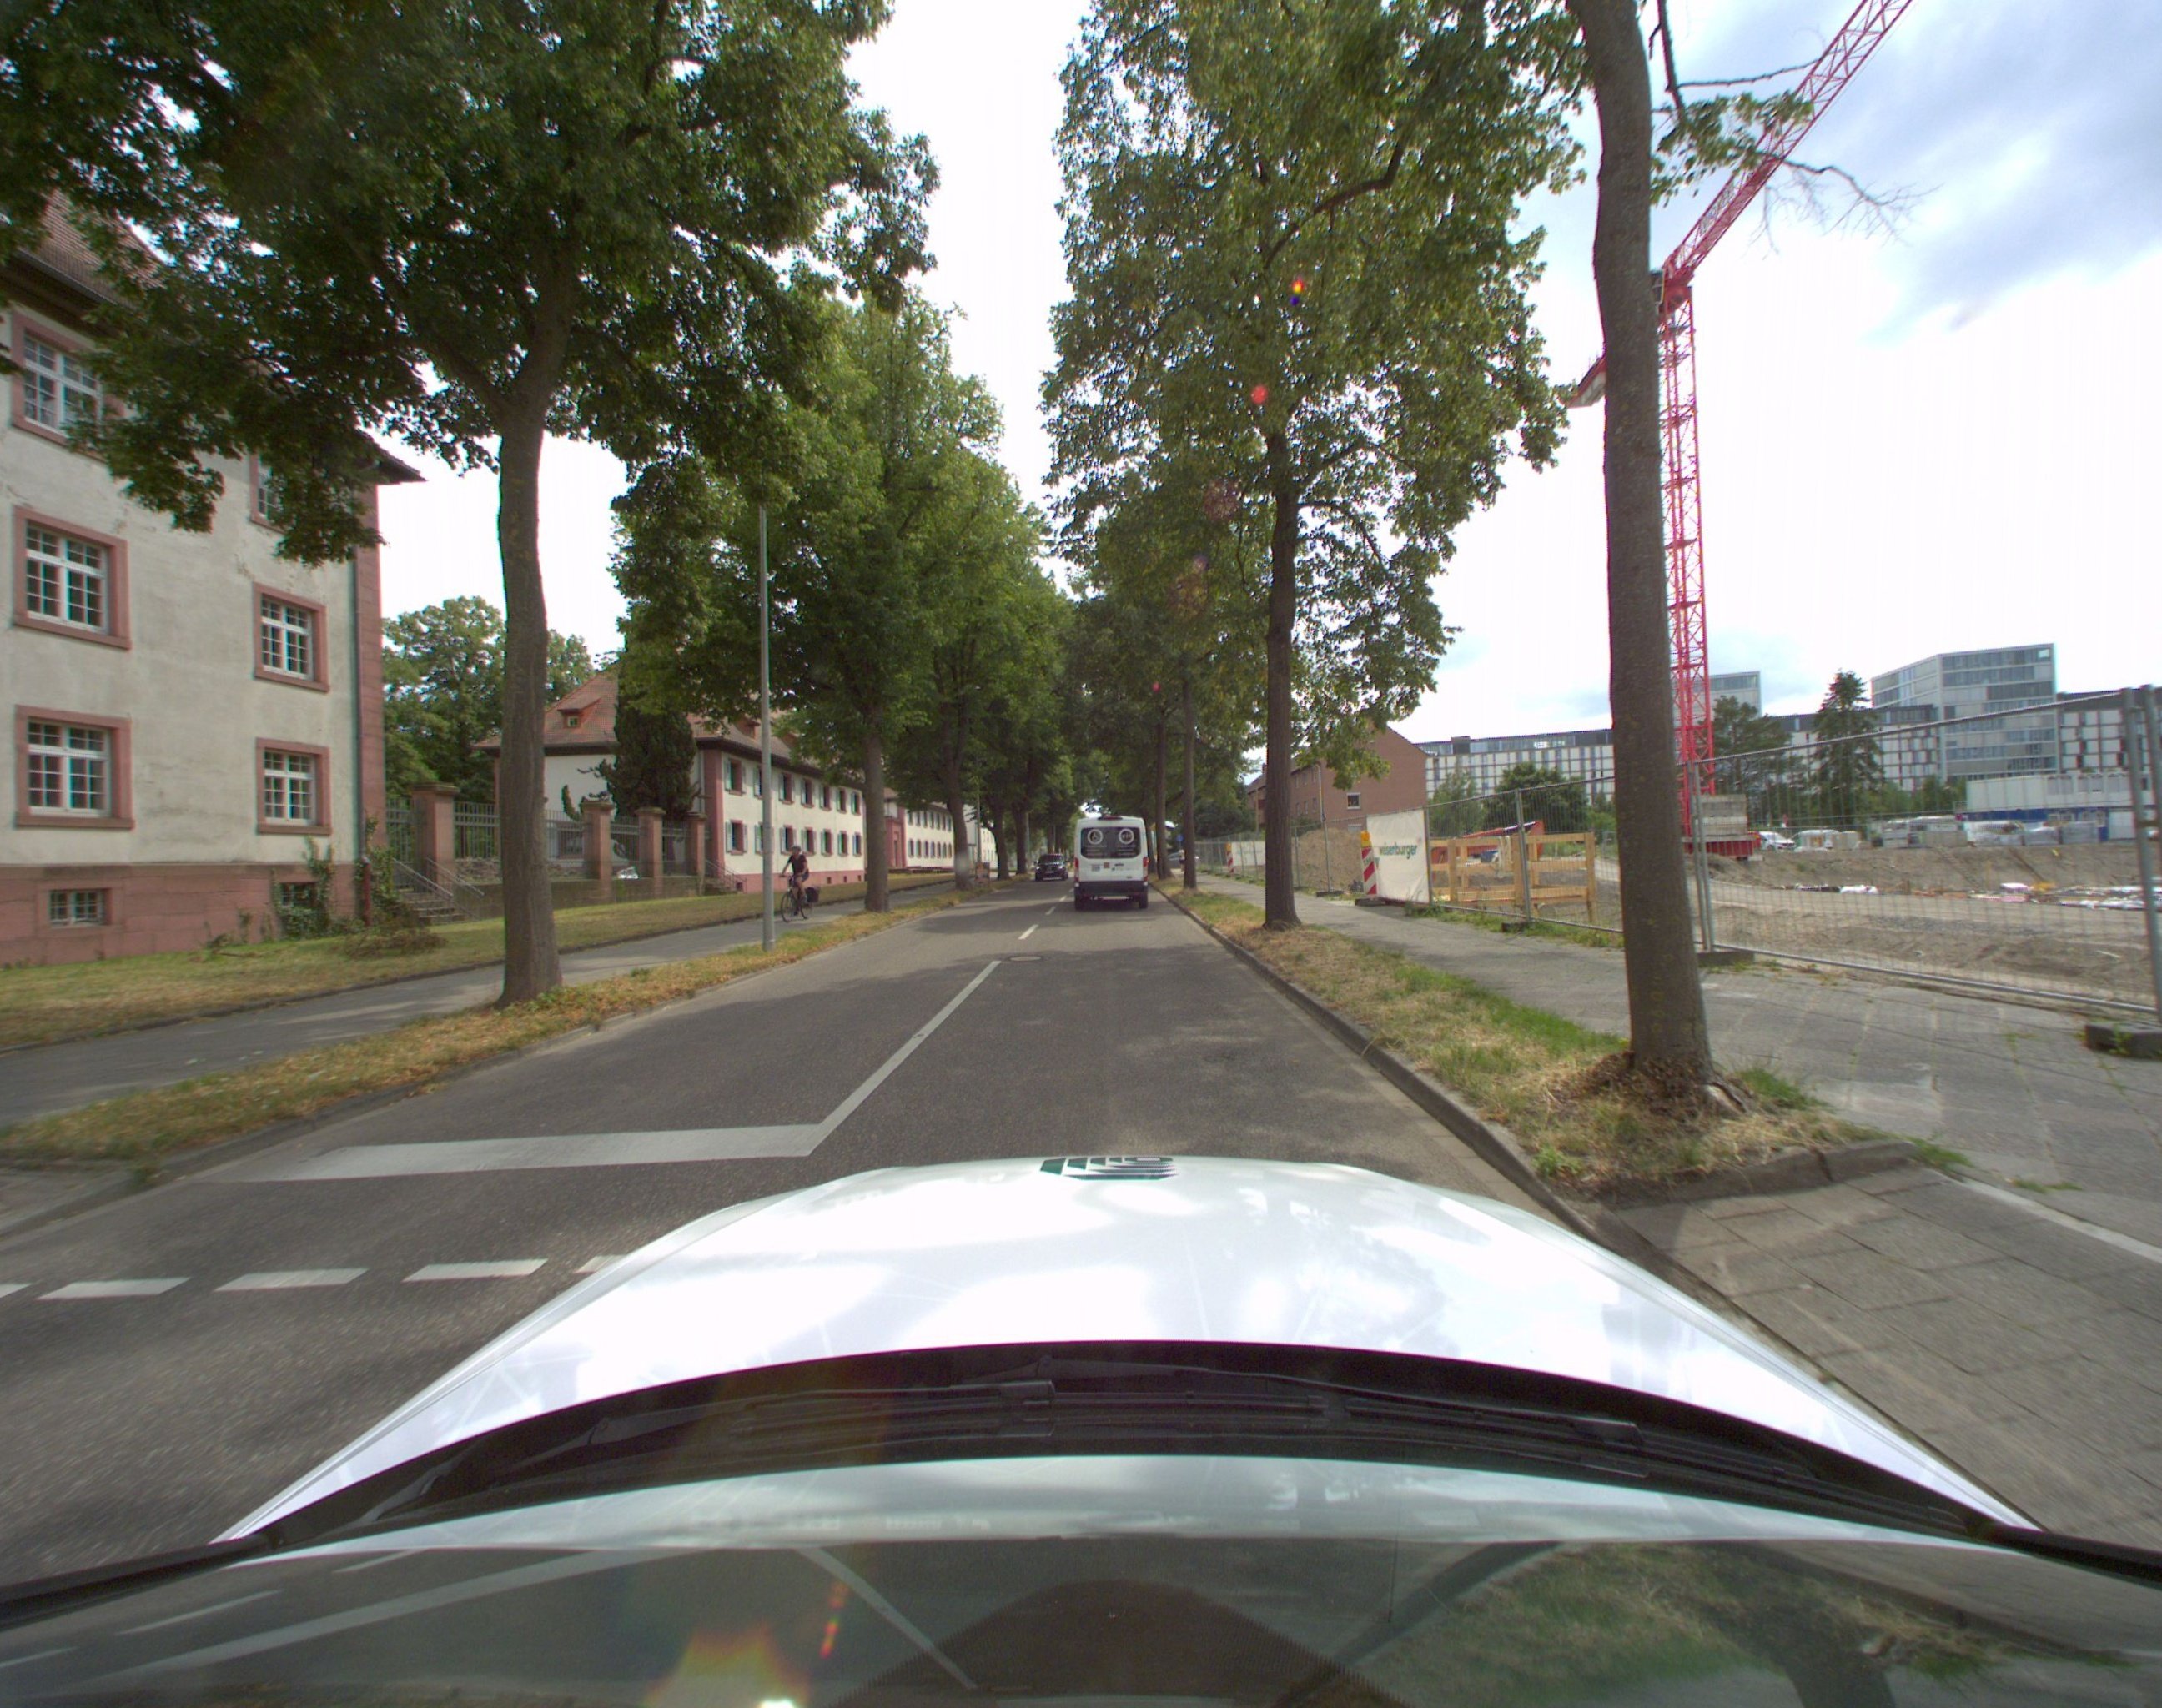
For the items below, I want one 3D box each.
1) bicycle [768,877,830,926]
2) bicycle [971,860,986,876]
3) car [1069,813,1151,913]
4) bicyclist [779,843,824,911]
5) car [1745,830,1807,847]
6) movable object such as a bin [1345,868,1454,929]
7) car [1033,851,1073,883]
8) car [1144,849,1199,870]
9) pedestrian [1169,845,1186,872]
[{"bbox_3d":[-7.062,1.174,20.520,0.720,1.095,2.152,2,0,2],"label":"bicycle"},{"bbox_3d":[-7.523,1.028,60.079,0.720,1.095,2.226,2,0,2],"label":"bicycle"},{"bbox_3d":[0.731,0.239,23.205,2.057,2.540,3.998,-1,0,-1],"label":"car"},{"bbox_3d":[-7.050,0.573,20.558,0.720,1.656,0.959,2,0,1],"label":"bicyclist"},{"bbox_3d":[60.997,-1.358,71.550,1.712,1.416,4.206,-3,1,-2],"label":"car"},{"bbox_3d":[15.727,2.173,40.564,4.647,2.590,3.146,-4,-1,16],"label":"movable object such as a bin"},{"bbox_3d":[-1.613,0.735,48.537,1.763,1.659,4.264,-3,0,6],"label":"car"},{"bbox_3d":[7.430,0.453,67.288,4.353,1.443,2.012,-3,-3,3],"label":"car"},{"bbox_3d":[6.673,0.287,56.283,0.875,1.814,0.893,-4,-1,20],"label":"pedestrian"}]
